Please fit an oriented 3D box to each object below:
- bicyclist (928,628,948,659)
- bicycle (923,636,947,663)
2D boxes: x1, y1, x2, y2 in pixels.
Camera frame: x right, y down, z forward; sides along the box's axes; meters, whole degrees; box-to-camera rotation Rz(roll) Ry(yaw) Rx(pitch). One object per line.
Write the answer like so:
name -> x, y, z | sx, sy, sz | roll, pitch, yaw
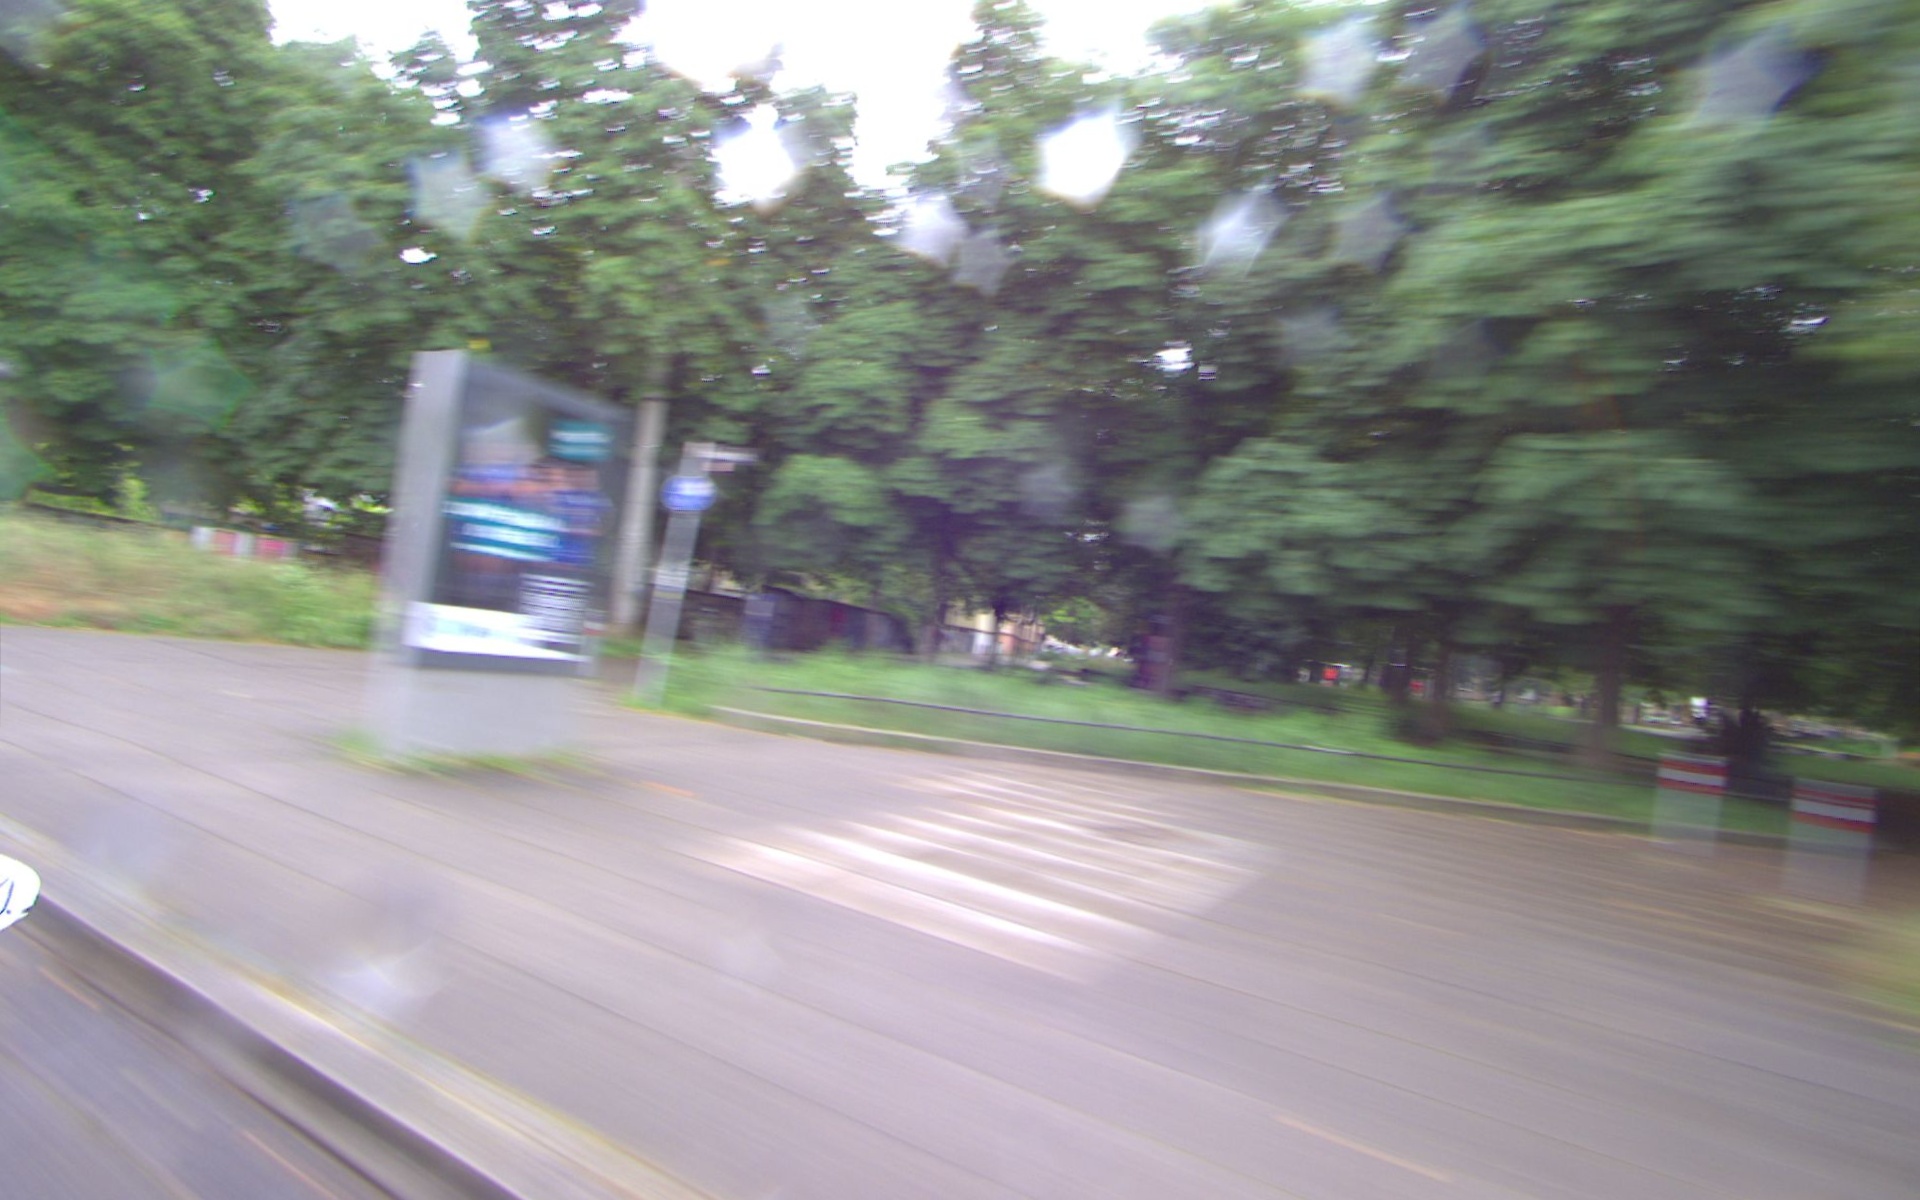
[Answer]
bicyclist -> -0.981, 1.935, 45.142 | 0.583, 1.309, 0.801 | 7, -1, 10
bicycle -> -1.115, 2.209, 44.788 | 0.614, 1.153, 1.714 | 6, -2, 10
